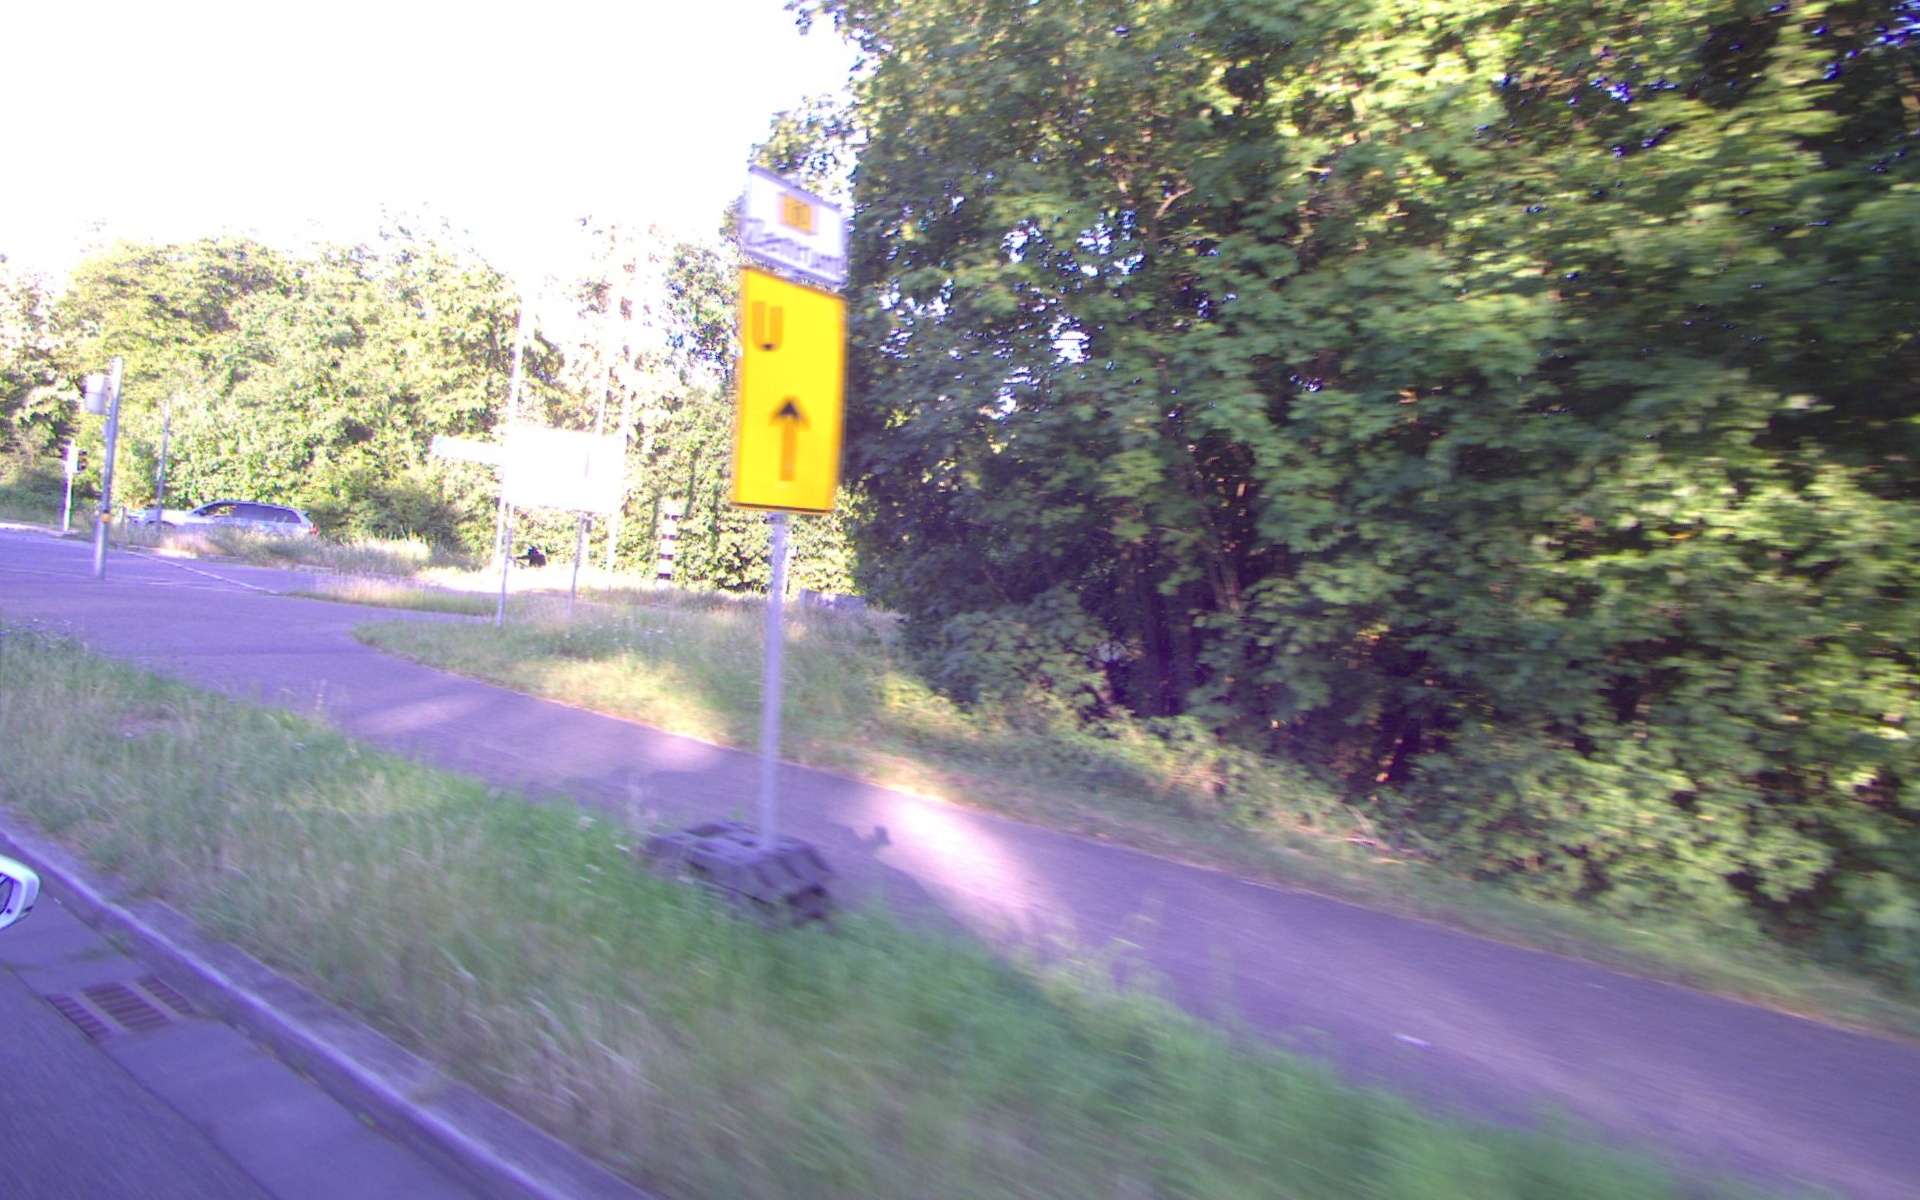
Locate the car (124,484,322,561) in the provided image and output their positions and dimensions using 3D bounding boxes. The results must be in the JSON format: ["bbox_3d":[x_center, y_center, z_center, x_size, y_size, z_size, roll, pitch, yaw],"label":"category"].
[{"bbox_3d":[-22.942,-2.382,31.545,4.788,1.618,1.980,7,0,-36],"label":"car"}]

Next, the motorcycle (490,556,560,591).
[{"bbox_3d":[-15.341,-0.927,35.518,2.132,0.921,0.656,7,0,-36],"label":"motorcycle"}]

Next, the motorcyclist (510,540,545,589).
[{"bbox_3d":[-15.277,-1.258,35.506,0.881,1.615,0.648,7,1,-35],"label":"motorcyclist"}]
